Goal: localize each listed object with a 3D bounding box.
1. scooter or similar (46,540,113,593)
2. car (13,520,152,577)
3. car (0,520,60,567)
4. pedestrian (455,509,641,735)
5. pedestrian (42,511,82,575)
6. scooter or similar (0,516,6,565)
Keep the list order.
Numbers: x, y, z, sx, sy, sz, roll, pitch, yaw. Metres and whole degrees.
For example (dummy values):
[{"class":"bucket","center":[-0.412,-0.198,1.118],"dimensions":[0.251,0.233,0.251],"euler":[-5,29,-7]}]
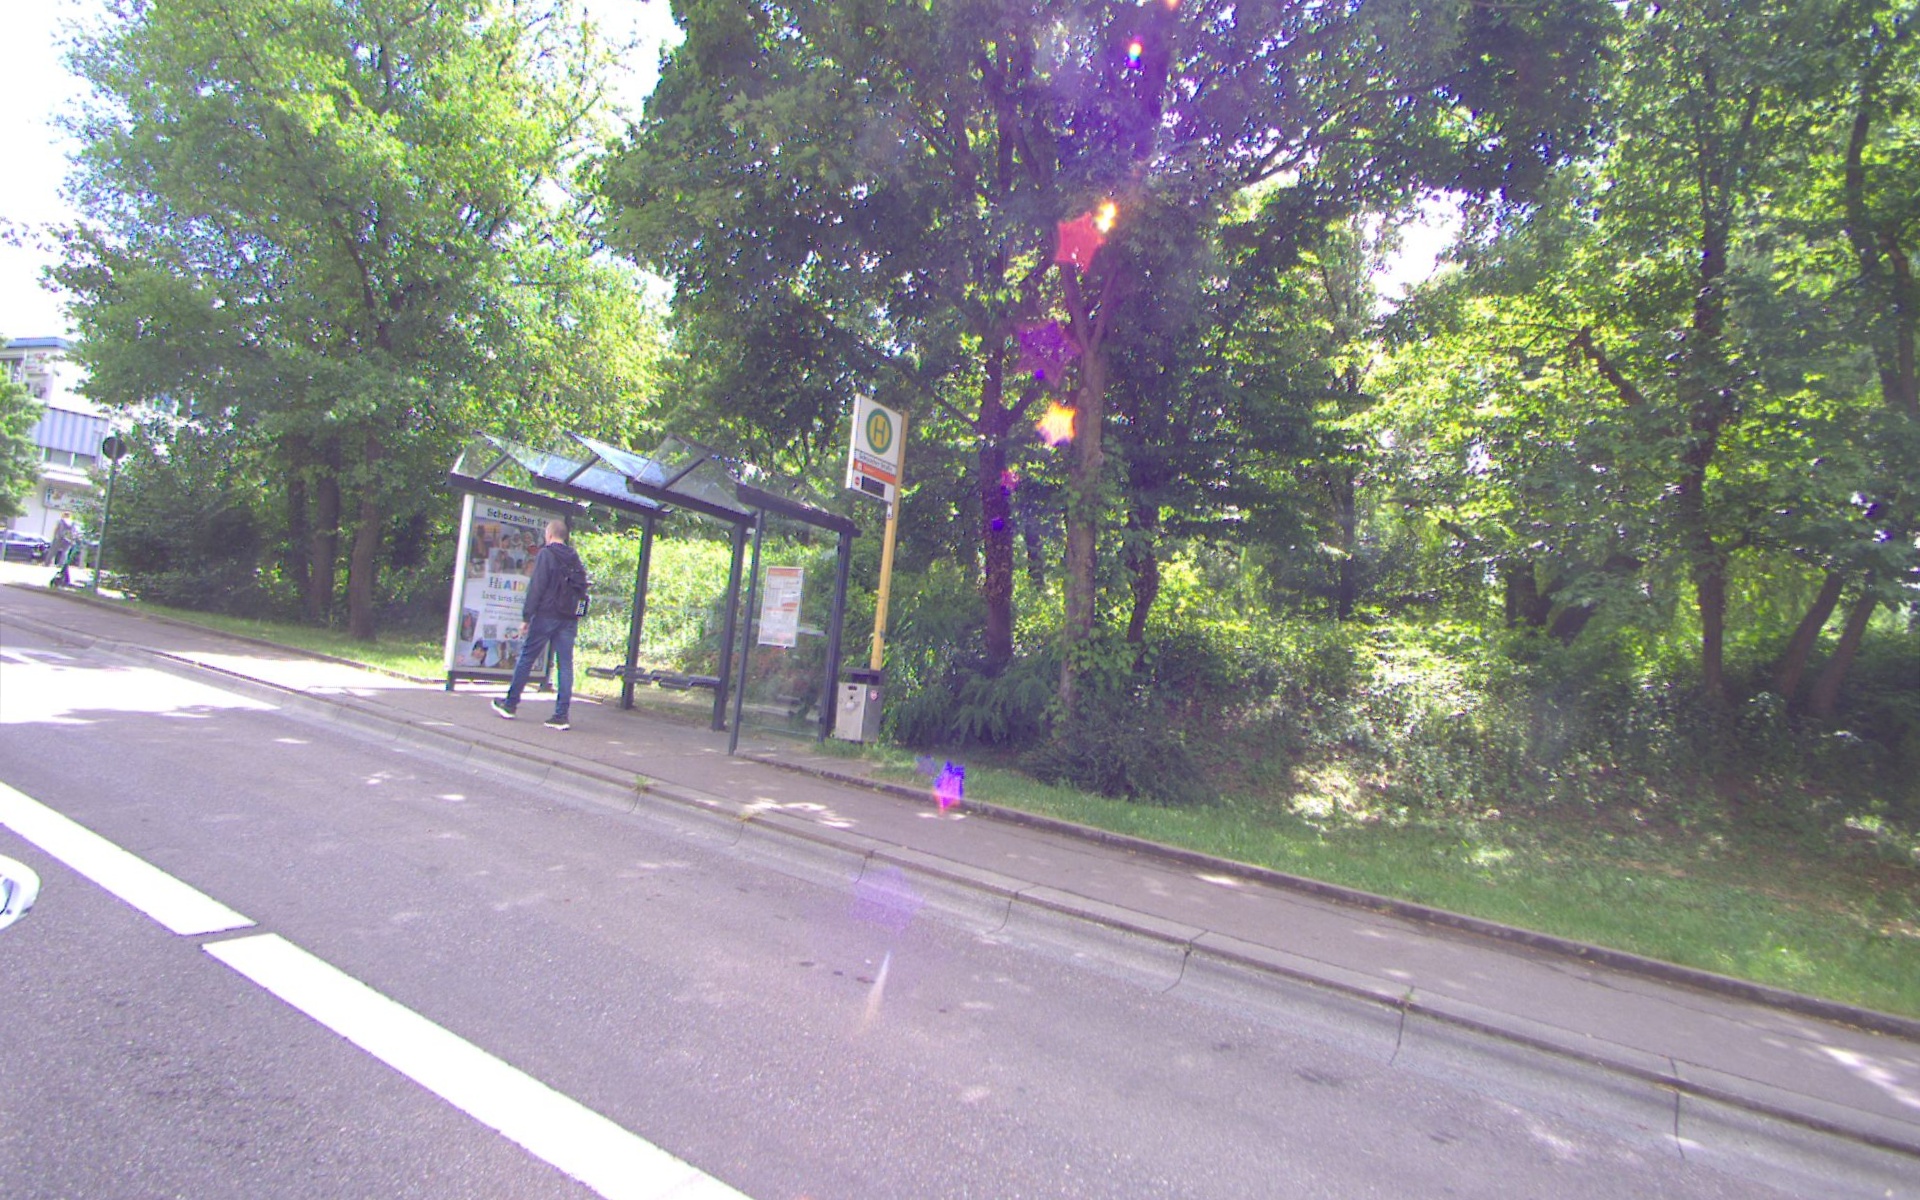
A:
[{"class":"scooter or similar","center":[-20.777,-0.776,23.758],"dimensions":[0.325,1.112,1.153],"euler":[7,-2,9]},{"class":"car","center":[-34.002,-1.974,39.102],"dimensions":[1.679,1.619,3.592],"euler":[6,-2,20]},{"class":"car","center":[-37.335,-2.339,38.400],"dimensions":[1.645,1.543,4.001],"euler":[7,-2,23]},{"class":"pedestrian","center":[-3.843,0.199,9.393],"dimensions":[1.250,1.916,0.803],"euler":[6,-2,33]},{"class":"pedestrian","center":[-27.193,-1.718,30.466],"dimensions":[0.611,1.808,0.562],"euler":[12,-5,-40]},{"class":"scooter or similar","center":[-25.445,-1.605,25.930],"dimensions":[0.326,1.273,1.111],"euler":[7,-1,20]}]
